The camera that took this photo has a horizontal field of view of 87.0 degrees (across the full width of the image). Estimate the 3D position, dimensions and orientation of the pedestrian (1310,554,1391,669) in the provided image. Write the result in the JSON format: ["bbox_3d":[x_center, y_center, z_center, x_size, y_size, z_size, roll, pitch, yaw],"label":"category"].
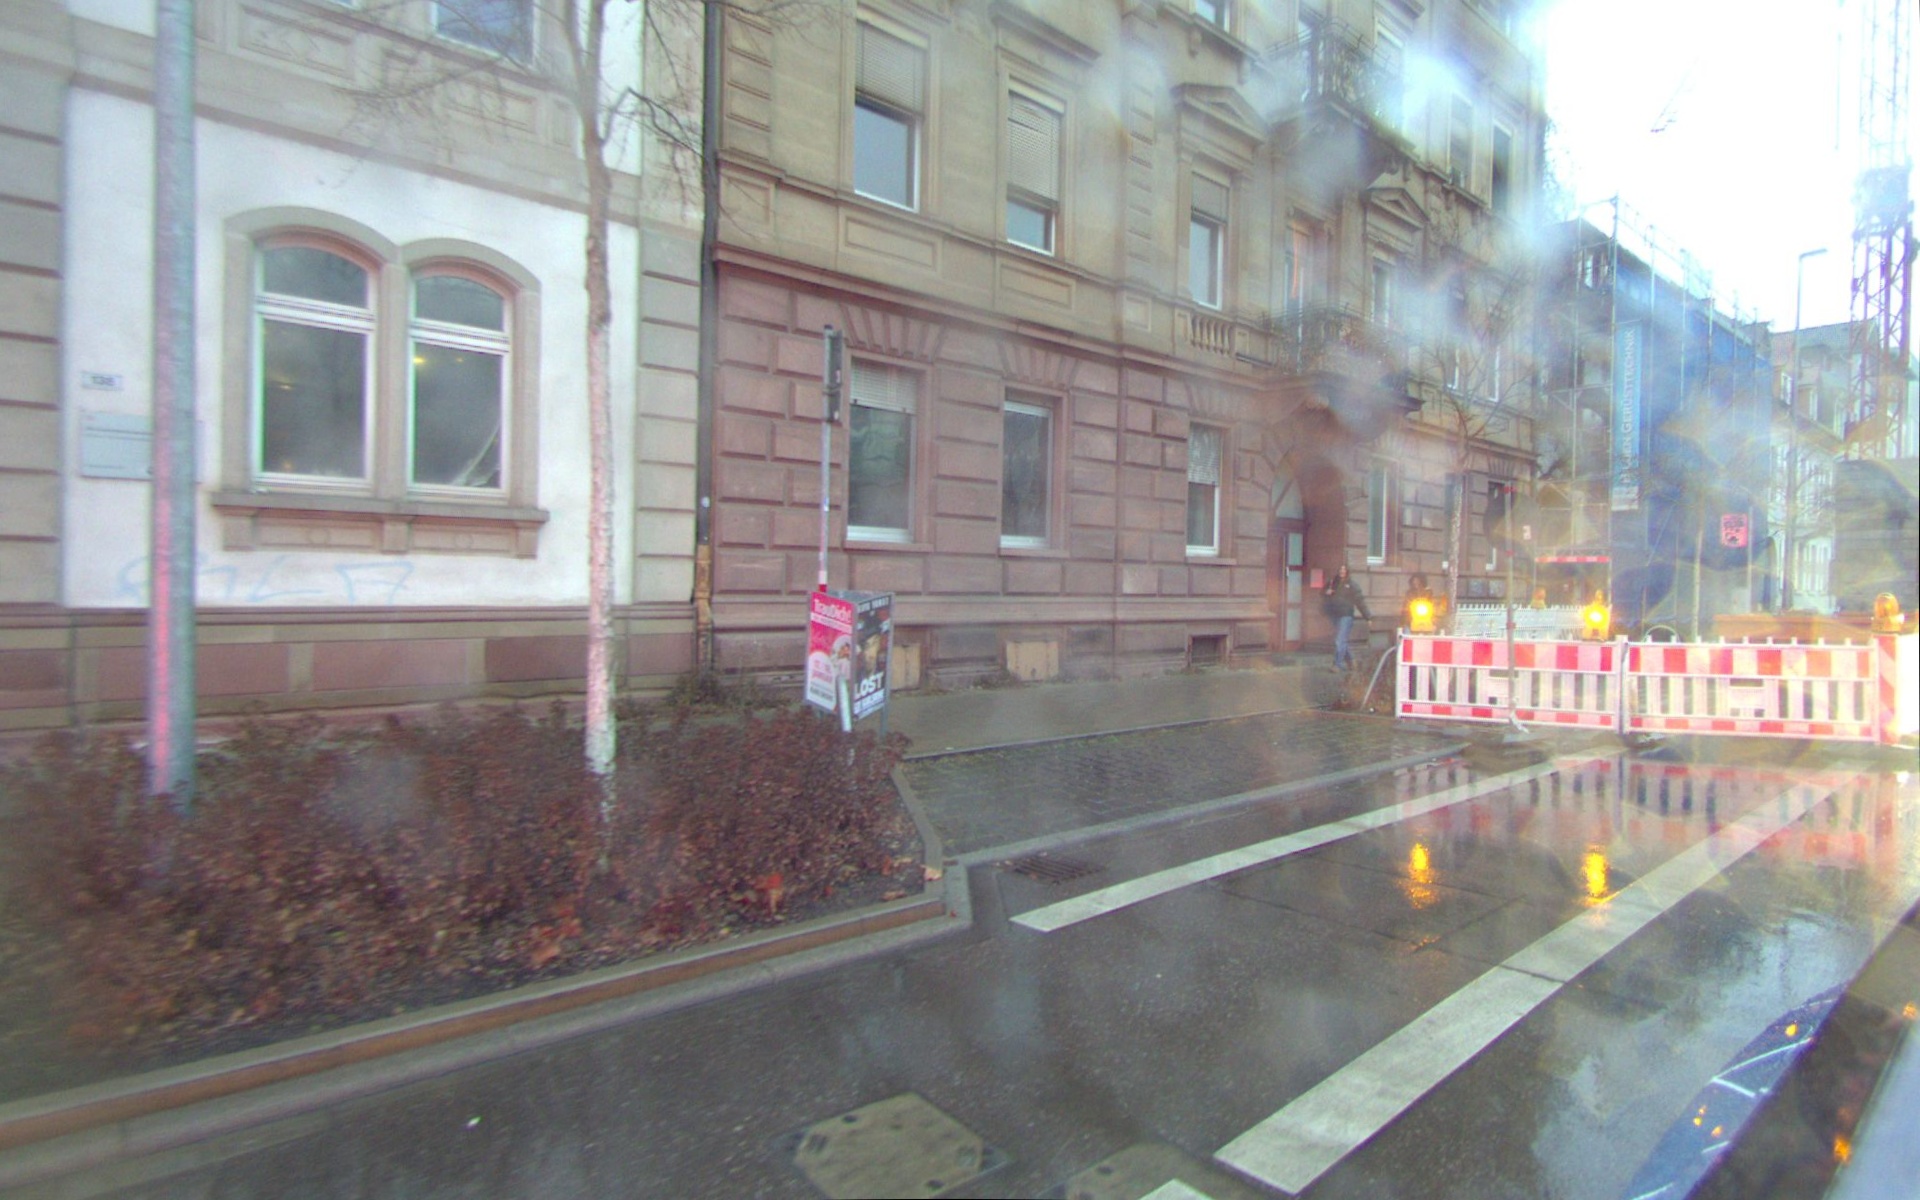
[{"bbox_3d":[5.980,0.157,15.504,0.693,1.693,0.871,0,2,-36],"label":"pedestrian"}]

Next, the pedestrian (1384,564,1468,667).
[{"bbox_3d":[7.404,0.223,16.075,0.913,1.564,0.870,0,2,-40],"label":"pedestrian"}]
